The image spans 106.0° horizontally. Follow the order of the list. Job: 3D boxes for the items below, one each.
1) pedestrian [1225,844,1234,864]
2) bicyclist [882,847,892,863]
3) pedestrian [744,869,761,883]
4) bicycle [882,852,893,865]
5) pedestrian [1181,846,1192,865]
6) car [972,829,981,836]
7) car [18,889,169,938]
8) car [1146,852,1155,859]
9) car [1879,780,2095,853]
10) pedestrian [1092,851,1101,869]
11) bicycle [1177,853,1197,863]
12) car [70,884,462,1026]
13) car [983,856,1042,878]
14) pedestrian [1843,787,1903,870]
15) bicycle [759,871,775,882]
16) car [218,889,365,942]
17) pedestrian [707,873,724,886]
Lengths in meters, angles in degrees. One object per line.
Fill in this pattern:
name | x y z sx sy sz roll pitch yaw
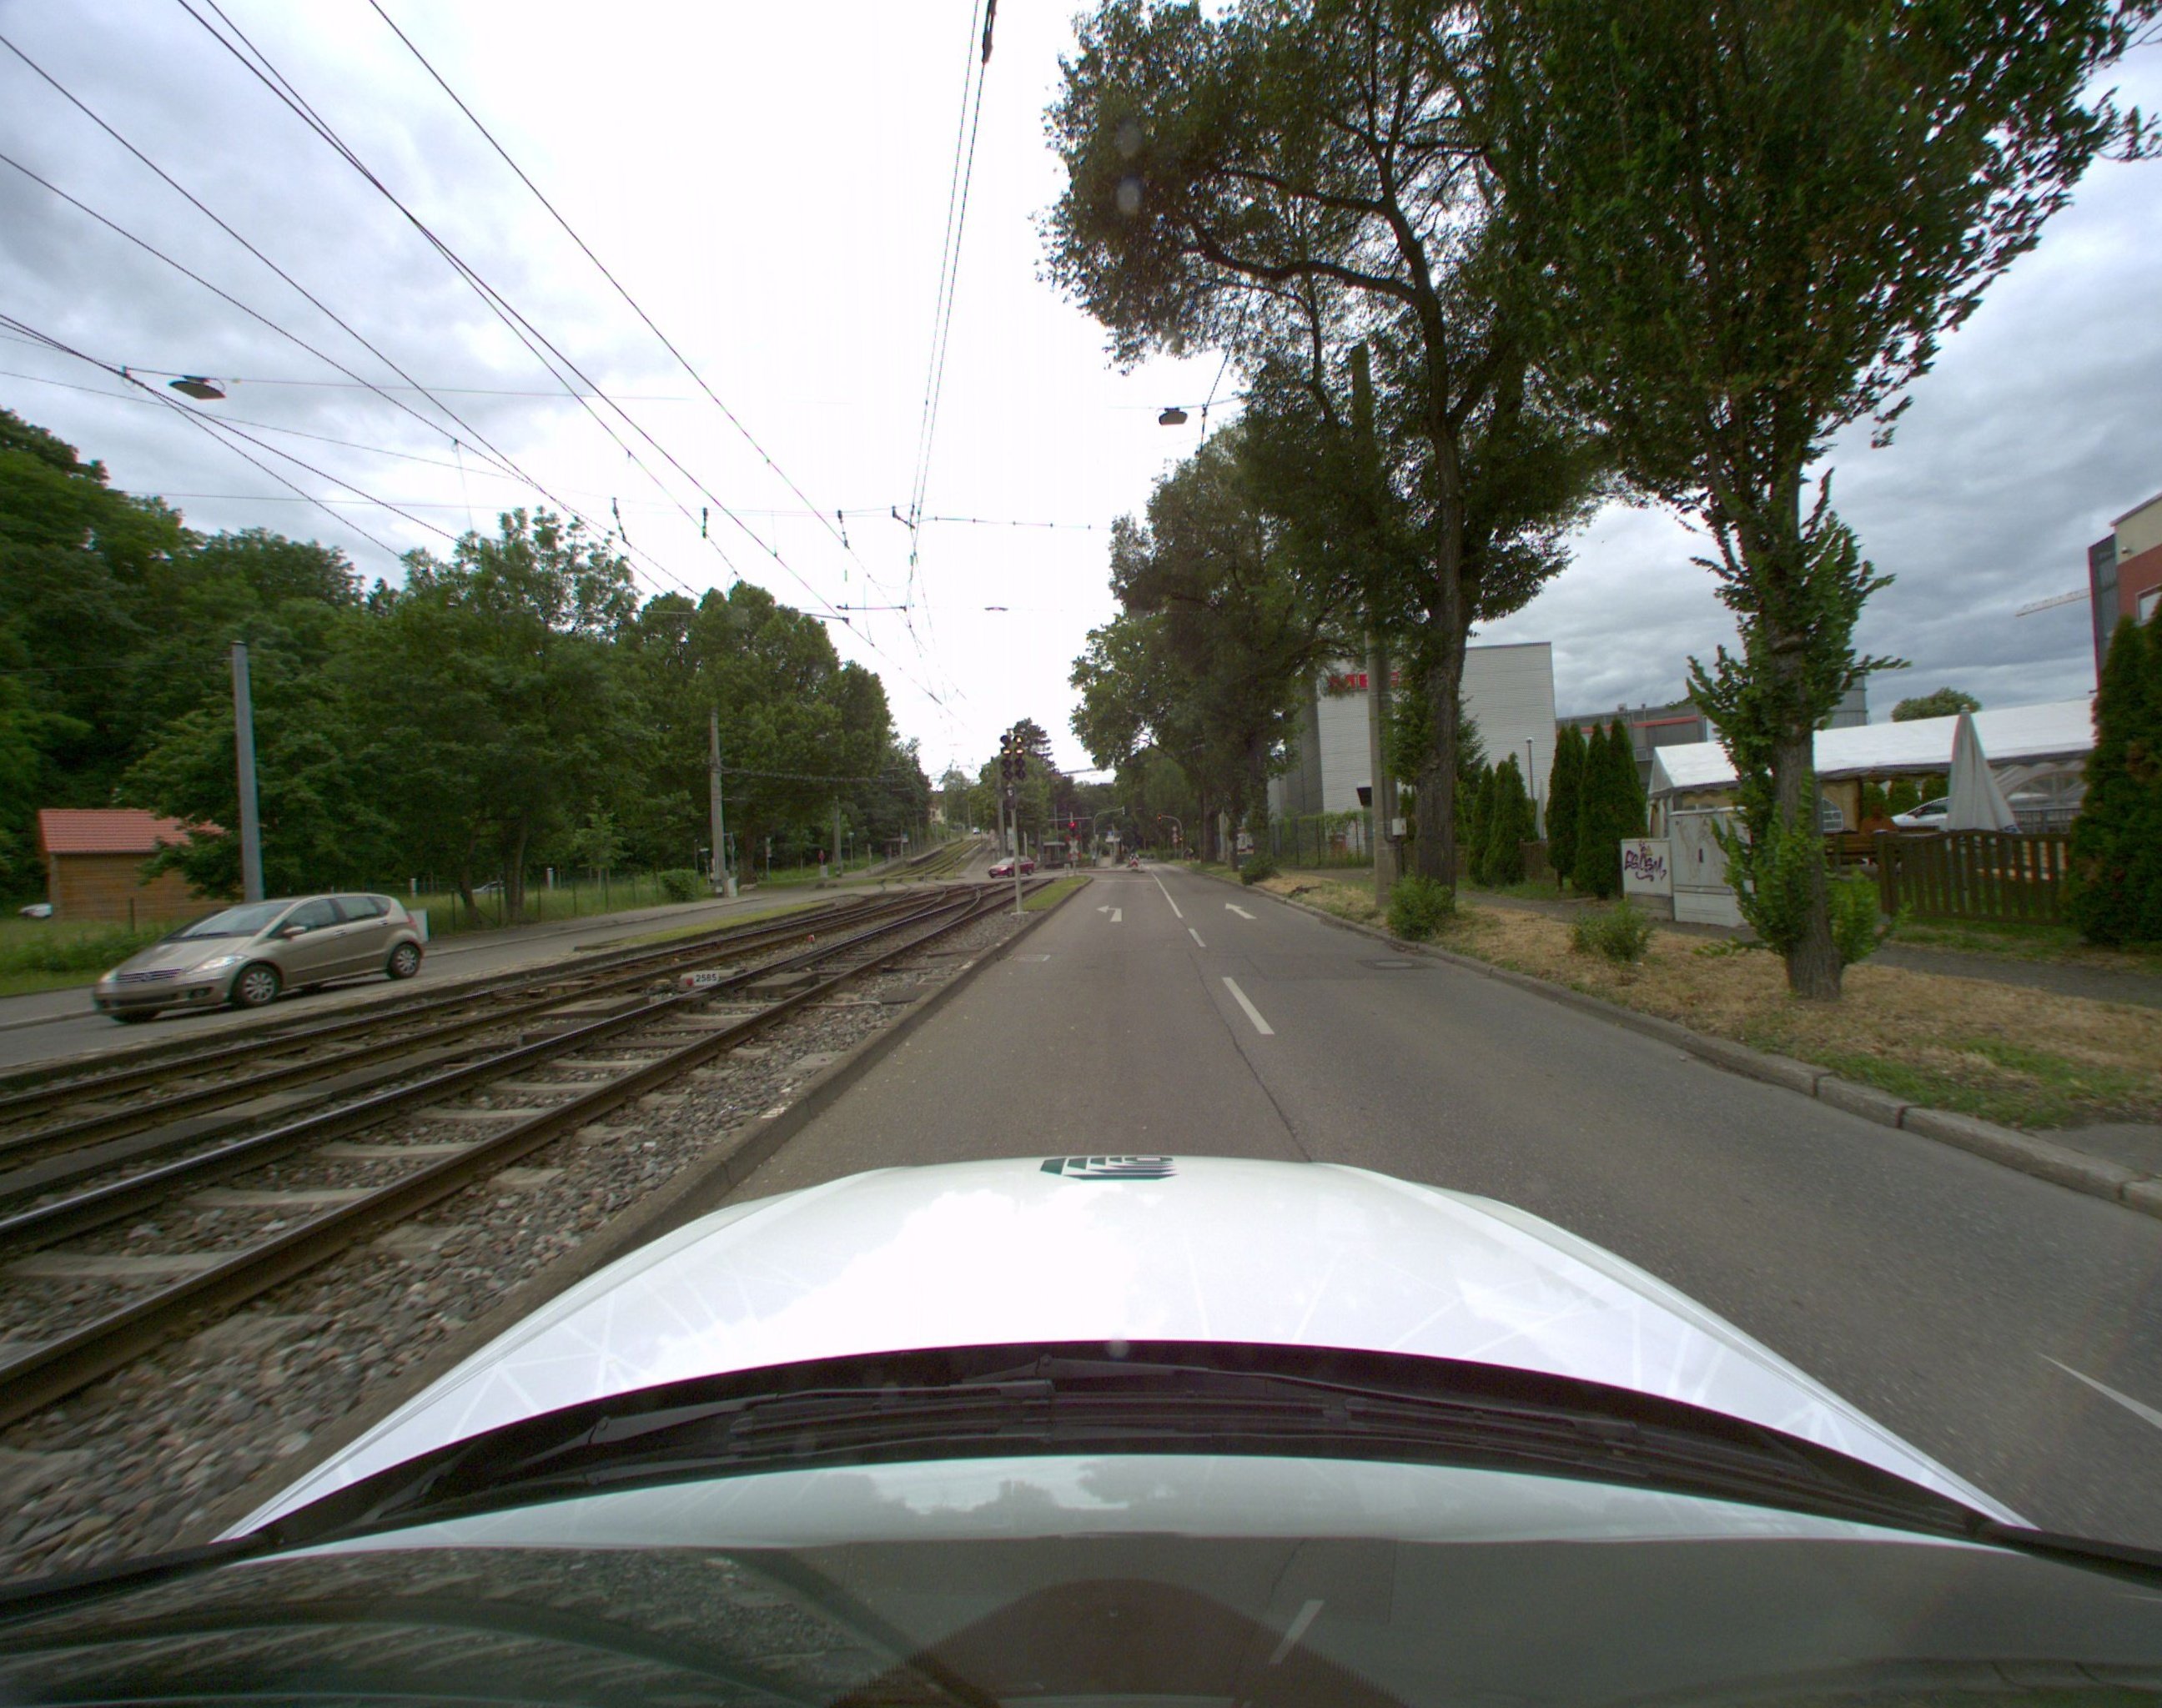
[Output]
pedestrian | 11.606 0.008 63.678 0.662 1.553 0.937 -3 -1 10
bicyclist | -23.327 0.064 97.961 0.819 1.848 1.050 -3 2 -4
pedestrian | -30.049 2.040 74.534 1.102 1.268 1.063 -2 -2 42
bicycle | -23.318 0.554 98.168 0.822 1.343 2.992 -4 3 -4
pedestrian | 11.132 0.153 85.998 0.925 2.013 0.670 -3 -1 9
car | -29.658 -6.113 232.088 1.987 2.013 3.999 -4 0 0
car | -48.762 2.913 40.324 1.974 2.013 4.431 -3 0 29
car | 19.067 0.513 224.230 1.987 1.815 3.999 -4 0 0
car | 26.194 -1.000 23.790 1.984 1.838 4.006 -3 0 6
pedestrian | 1.585 0.620 82.634 0.766 1.852 0.910 -3 -1 0
bicycle | 11.219 0.411 85.987 2.062 1.007 0.670 -3 -1 9
car | -12.440 1.415 12.953 1.886 1.531 4.252 -6 0 -2
car | -5.160 0.978 62.100 1.974 1.515 4.530 -2 0 35
pedestrian | 14.902 -0.466 15.345 0.696 1.490 0.775 -3 -1 40
bicycle | -29.109 2.122 75.466 1.632 1.012 0.679 -2 -2 41
car | -31.705 2.414 32.900 1.988 1.750 3.997 -4 0 -2
pedestrian | -31.755 2.209 70.779 0.894 1.095 1.088 -2 -2 39
